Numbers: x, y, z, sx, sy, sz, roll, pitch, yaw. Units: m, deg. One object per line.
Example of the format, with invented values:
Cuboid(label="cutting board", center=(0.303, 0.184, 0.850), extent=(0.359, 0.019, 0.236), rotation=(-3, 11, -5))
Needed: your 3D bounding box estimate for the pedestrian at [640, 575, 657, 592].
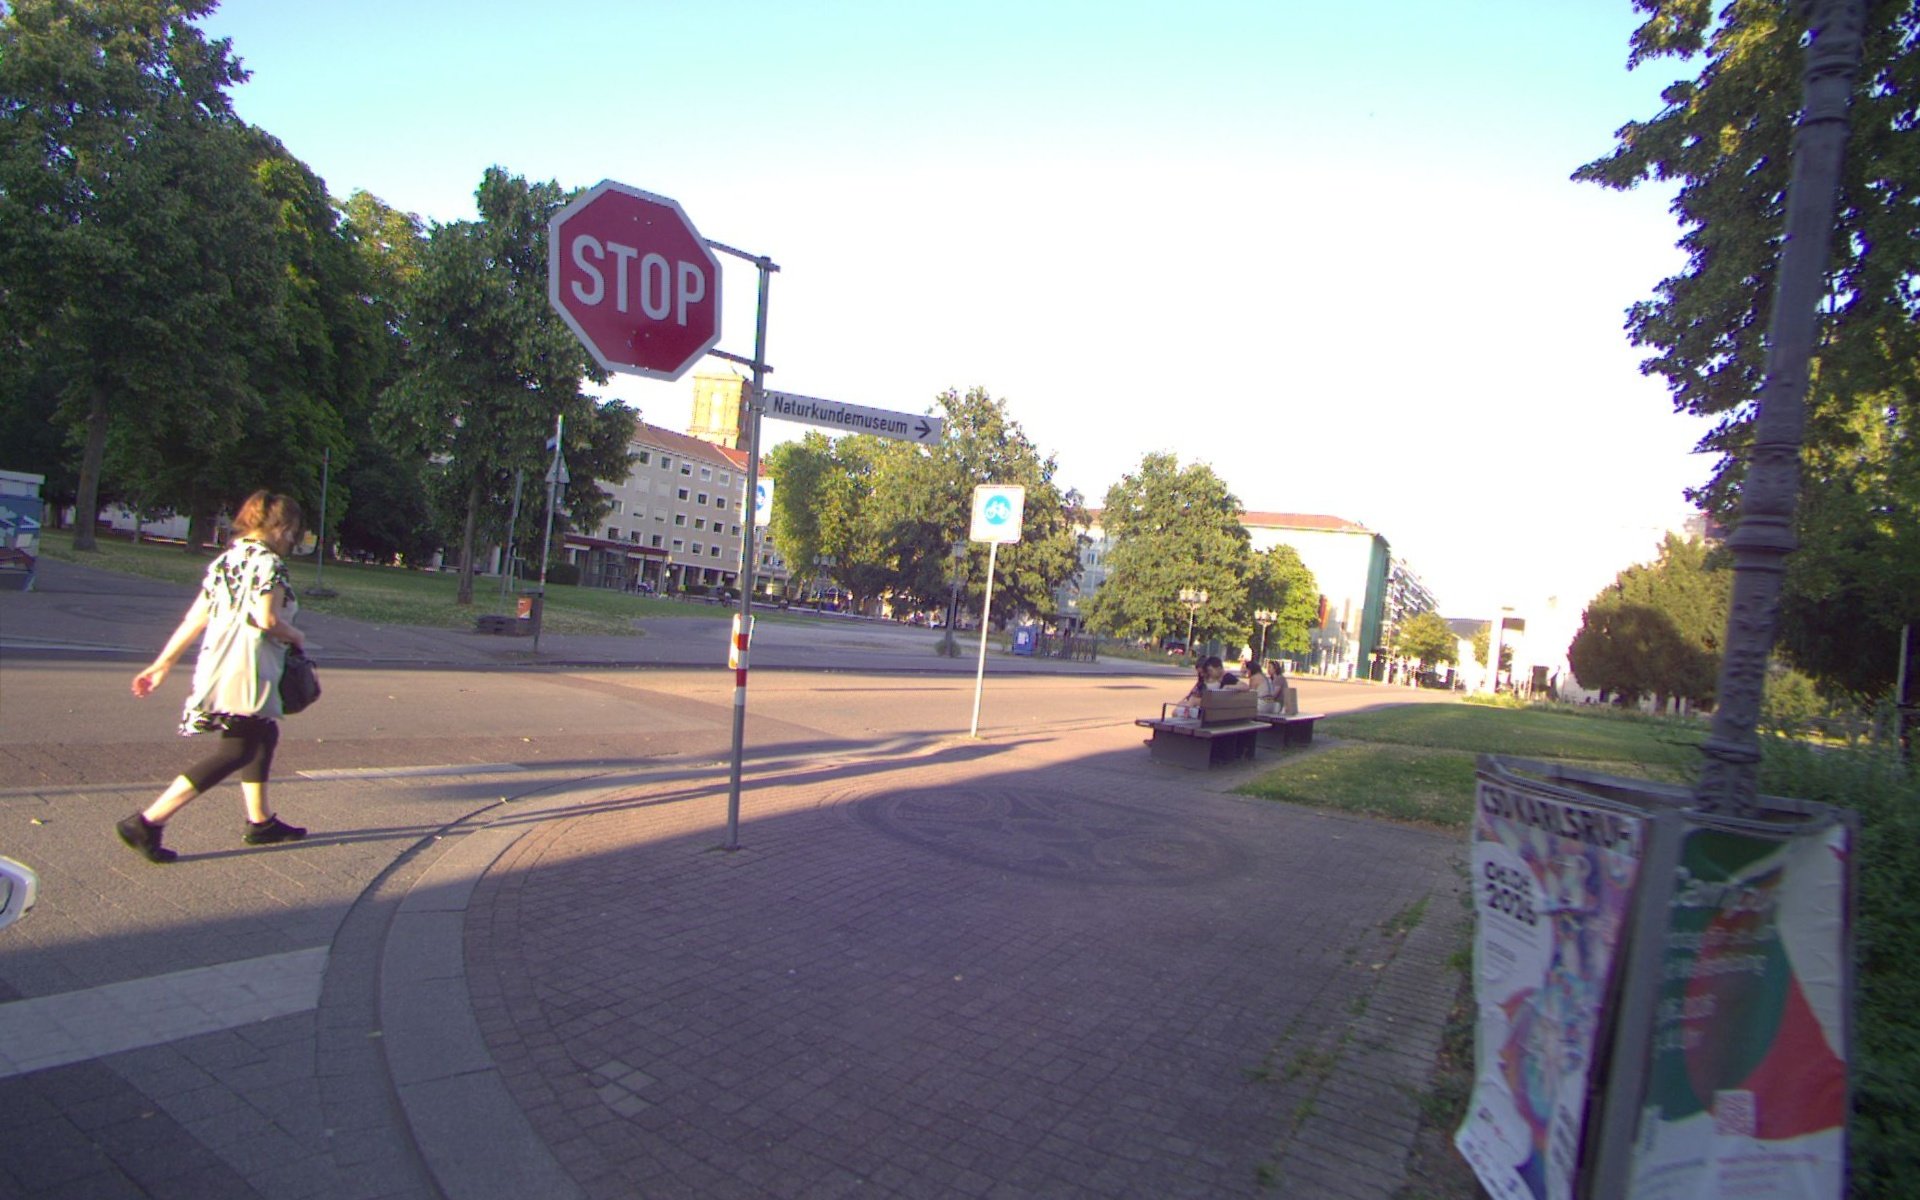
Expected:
Cuboid(label="pedestrian", center=(-21.715, -1.154, 70.155), extent=(0.892, 1.091, 0.614), rotation=(6, 1, -42))

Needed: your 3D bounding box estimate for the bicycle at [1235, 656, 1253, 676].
Cuboid(label="bicycle", center=(14.764, 3.410, 52.255), extent=(0.630, 0.953, 1.462), rotation=(6, 0, 25))

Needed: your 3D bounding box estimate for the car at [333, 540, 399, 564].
Cuboid(label="car", center=(-43.477, -3.475, 73.675), extent=(1.964, 1.255, 3.582), rotation=(6, 0, 25))

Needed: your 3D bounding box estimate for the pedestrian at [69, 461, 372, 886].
Cuboid(label="pedestrian", center=(-3.360, 0.293, 4.589), extent=(0.822, 1.710, 0.735), rotation=(6, 1, 31))

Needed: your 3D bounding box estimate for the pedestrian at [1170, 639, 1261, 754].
Cuboid(label="pedestrian", center=(3.077, 1.147, 12.170), extent=(0.803, 1.253, 0.683), rotation=(6, 0, 1))

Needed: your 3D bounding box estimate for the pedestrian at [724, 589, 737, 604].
Cuboid(label="pedestrian", center=(-15.227, -0.248, 66.701), extent=(0.609, 0.936, 0.512), rotation=(6, 1, 6))

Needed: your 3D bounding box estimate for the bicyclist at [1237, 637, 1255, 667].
Cuboid(label="bicyclist", center=(14.882, 2.703, 52.336), extent=(0.630, 1.462, 0.695), rotation=(7, 1, 25))

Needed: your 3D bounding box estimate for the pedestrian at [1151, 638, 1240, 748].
Cuboid(label="pedestrian", center=(2.989, 1.171, 12.825), extent=(0.857, 1.277, 0.598), rotation=(6, 1, 0))

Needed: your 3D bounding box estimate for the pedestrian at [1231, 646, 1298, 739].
Cuboid(label="pedestrian", center=(4.832, 1.447, 15.931), extent=(0.804, 1.358, 0.598), rotation=(6, 1, 26))

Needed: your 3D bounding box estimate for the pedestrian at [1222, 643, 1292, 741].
Cuboid(label="pedestrian", center=(4.533, 1.388, 15.345), extent=(0.804, 1.358, 0.598), rotation=(6, 1, 26))

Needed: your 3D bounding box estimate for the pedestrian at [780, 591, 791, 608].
Cuboid(label="pedestrian", center=(-11.519, -0.032, 66.499), extent=(0.610, 1.091, 0.511), rotation=(6, 1, -9))

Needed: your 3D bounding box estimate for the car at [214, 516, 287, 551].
Cuboid(label="car", center=(-54.500, -5.104, 77.353), extent=(1.967, 2.038, 4.035), rotation=(6, 0, 32))
